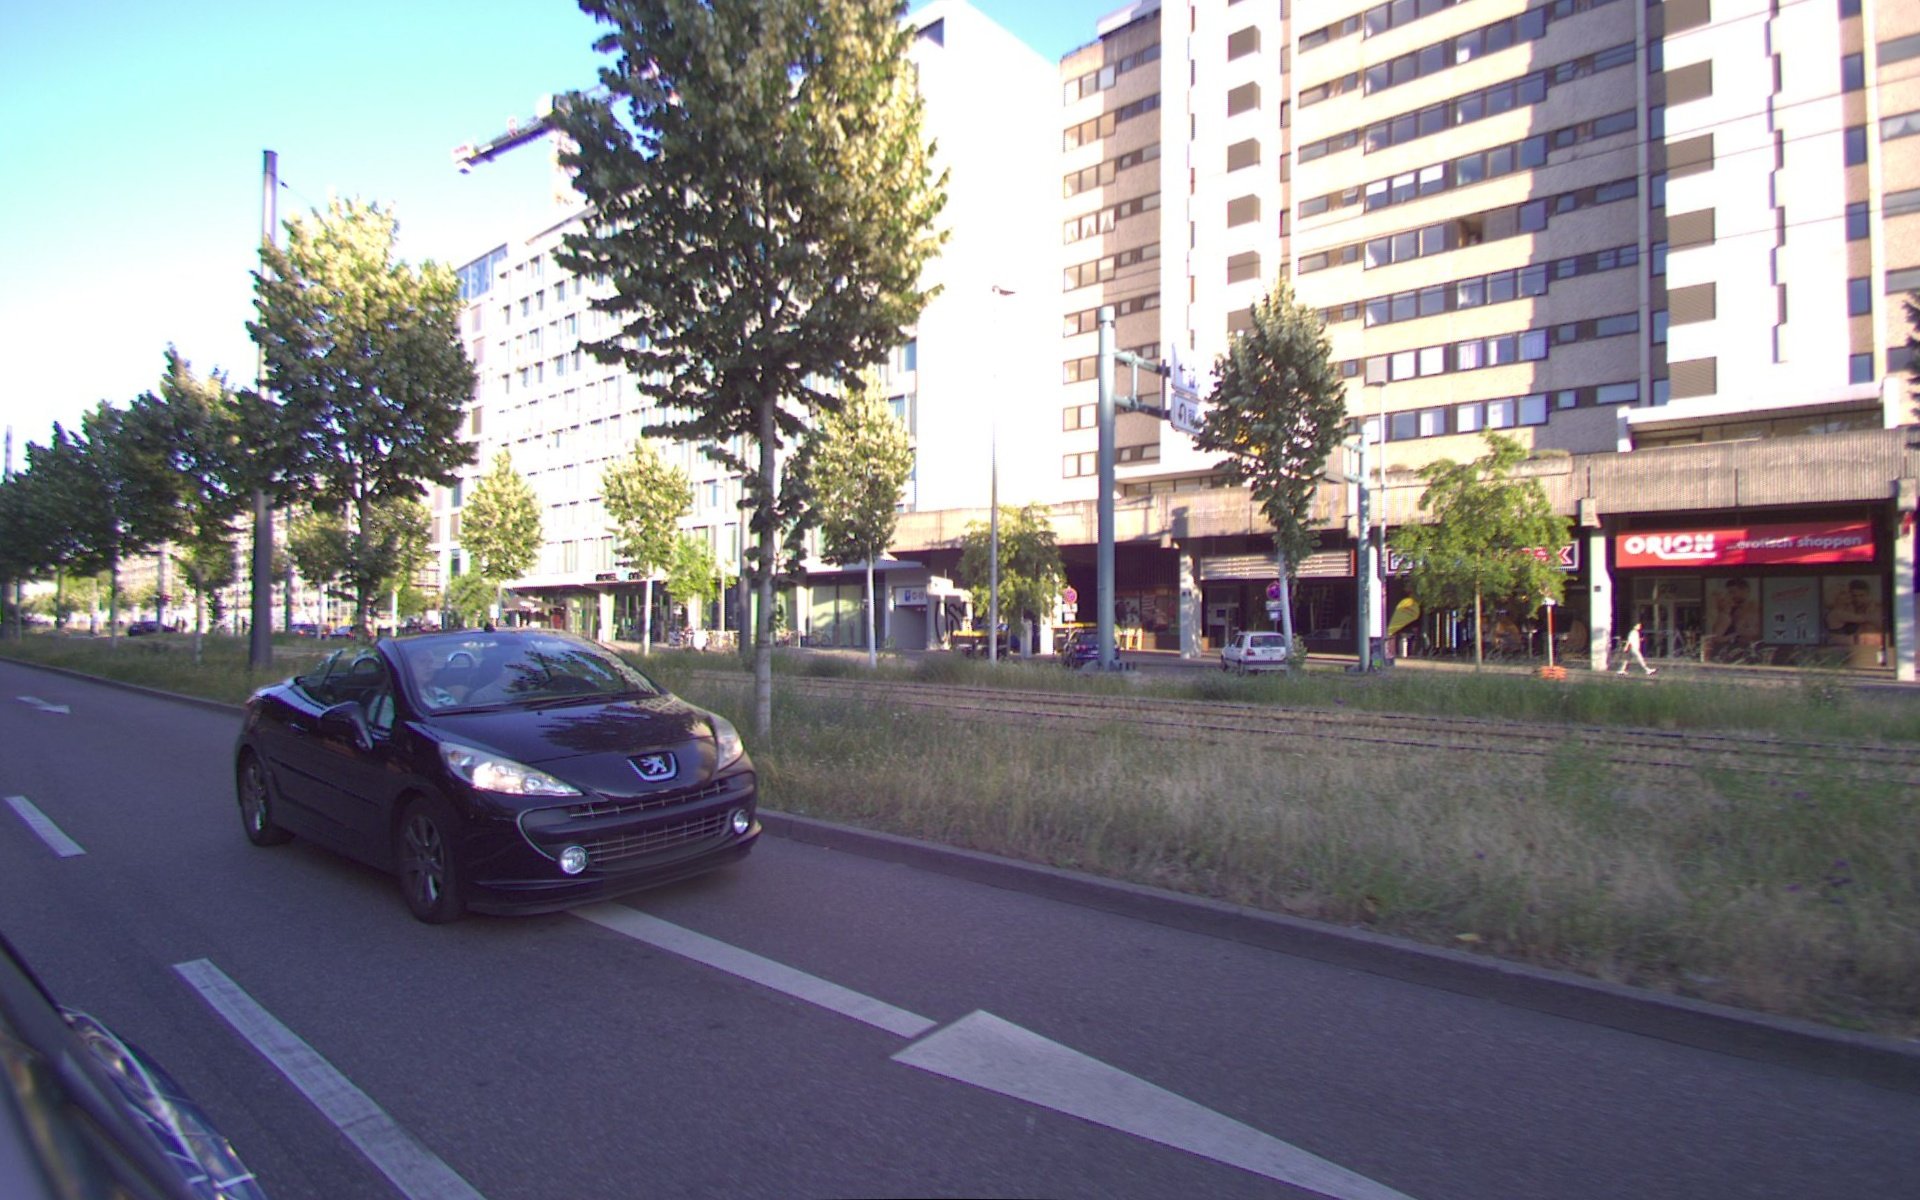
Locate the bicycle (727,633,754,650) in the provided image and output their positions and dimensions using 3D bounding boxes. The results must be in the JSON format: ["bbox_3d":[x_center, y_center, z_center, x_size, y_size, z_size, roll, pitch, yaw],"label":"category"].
[{"bbox_3d":[-13.318,2.528,61.411,0.420,1.028,1.770,-1,-2,37],"label":"bicycle"}]

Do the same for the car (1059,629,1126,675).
[{"bbox_3d":[4.795,1.858,37.148,1.982,1.602,4.283,0,-1,1],"label":"car"}]

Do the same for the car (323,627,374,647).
[{"bbox_3d":[-43.844,2.637,72.547,4.220,1.451,1.866,-1,-2,40],"label":"car"}]

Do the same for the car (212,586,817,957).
[{"bbox_3d":[-2.788,0.752,5.921,3.898,1.461,1.701,-3,-2,40],"label":"car"}]

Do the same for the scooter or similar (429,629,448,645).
[{"bbox_3d":[-38.735,2.742,75.159,0.338,1.227,1.169,-1,-2,42],"label":"scooter or similar"}]

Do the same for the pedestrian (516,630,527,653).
[{"bbox_3d":[-31.068,2.964,71.747,0.603,1.612,0.491,-2,0,43],"label":"pedestrian"}]

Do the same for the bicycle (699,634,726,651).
[{"bbox_3d":[-15.430,2.620,63.118,0.420,1.028,1.726,-1,-2,37],"label":"bicycle"}]

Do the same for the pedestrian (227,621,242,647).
[{"bbox_3d":[-56.219,2.629,78.433,0.855,2.029,0.821,-1,-2,44],"label":"pedestrian"}]

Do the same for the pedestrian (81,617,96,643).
[{"bbox_3d":[-62.931,2.182,73.100,0.762,1.850,0.699,-2,0,40],"label":"pedestrian"}]

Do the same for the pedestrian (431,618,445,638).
[{"bbox_3d":[-42.592,2.300,82.577,0.699,1.616,0.681,-1,0,1],"label":"pedestrian"}]

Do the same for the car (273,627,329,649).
[{"bbox_3d":[-45.894,2.651,70.444,4.799,1.452,1.994,-2,-4,41],"label":"car"}]

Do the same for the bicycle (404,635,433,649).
[{"bbox_3d":[-41.021,3.178,76.711,0.442,1.067,1.891,-1,-1,38],"label":"bicycle"}]

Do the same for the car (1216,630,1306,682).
[{"bbox_3d":[9.767,1.775,33.144,1.801,1.446,4.128,-1,0,2],"label":"car"}]

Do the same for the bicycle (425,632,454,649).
[{"bbox_3d":[-38.413,2.967,74.662,0.442,1.208,1.891,-1,-1,38],"label":"bicycle"}]

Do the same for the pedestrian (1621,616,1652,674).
[{"bbox_3d":[20.053,1.330,29.989,0.661,1.674,0.657,-1,-1,42],"label":"pedestrian"}]

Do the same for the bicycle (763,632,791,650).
[{"bbox_3d":[-10.552,2.354,58.513,0.420,1.028,1.770,-1,-2,37],"label":"bicycle"}]
